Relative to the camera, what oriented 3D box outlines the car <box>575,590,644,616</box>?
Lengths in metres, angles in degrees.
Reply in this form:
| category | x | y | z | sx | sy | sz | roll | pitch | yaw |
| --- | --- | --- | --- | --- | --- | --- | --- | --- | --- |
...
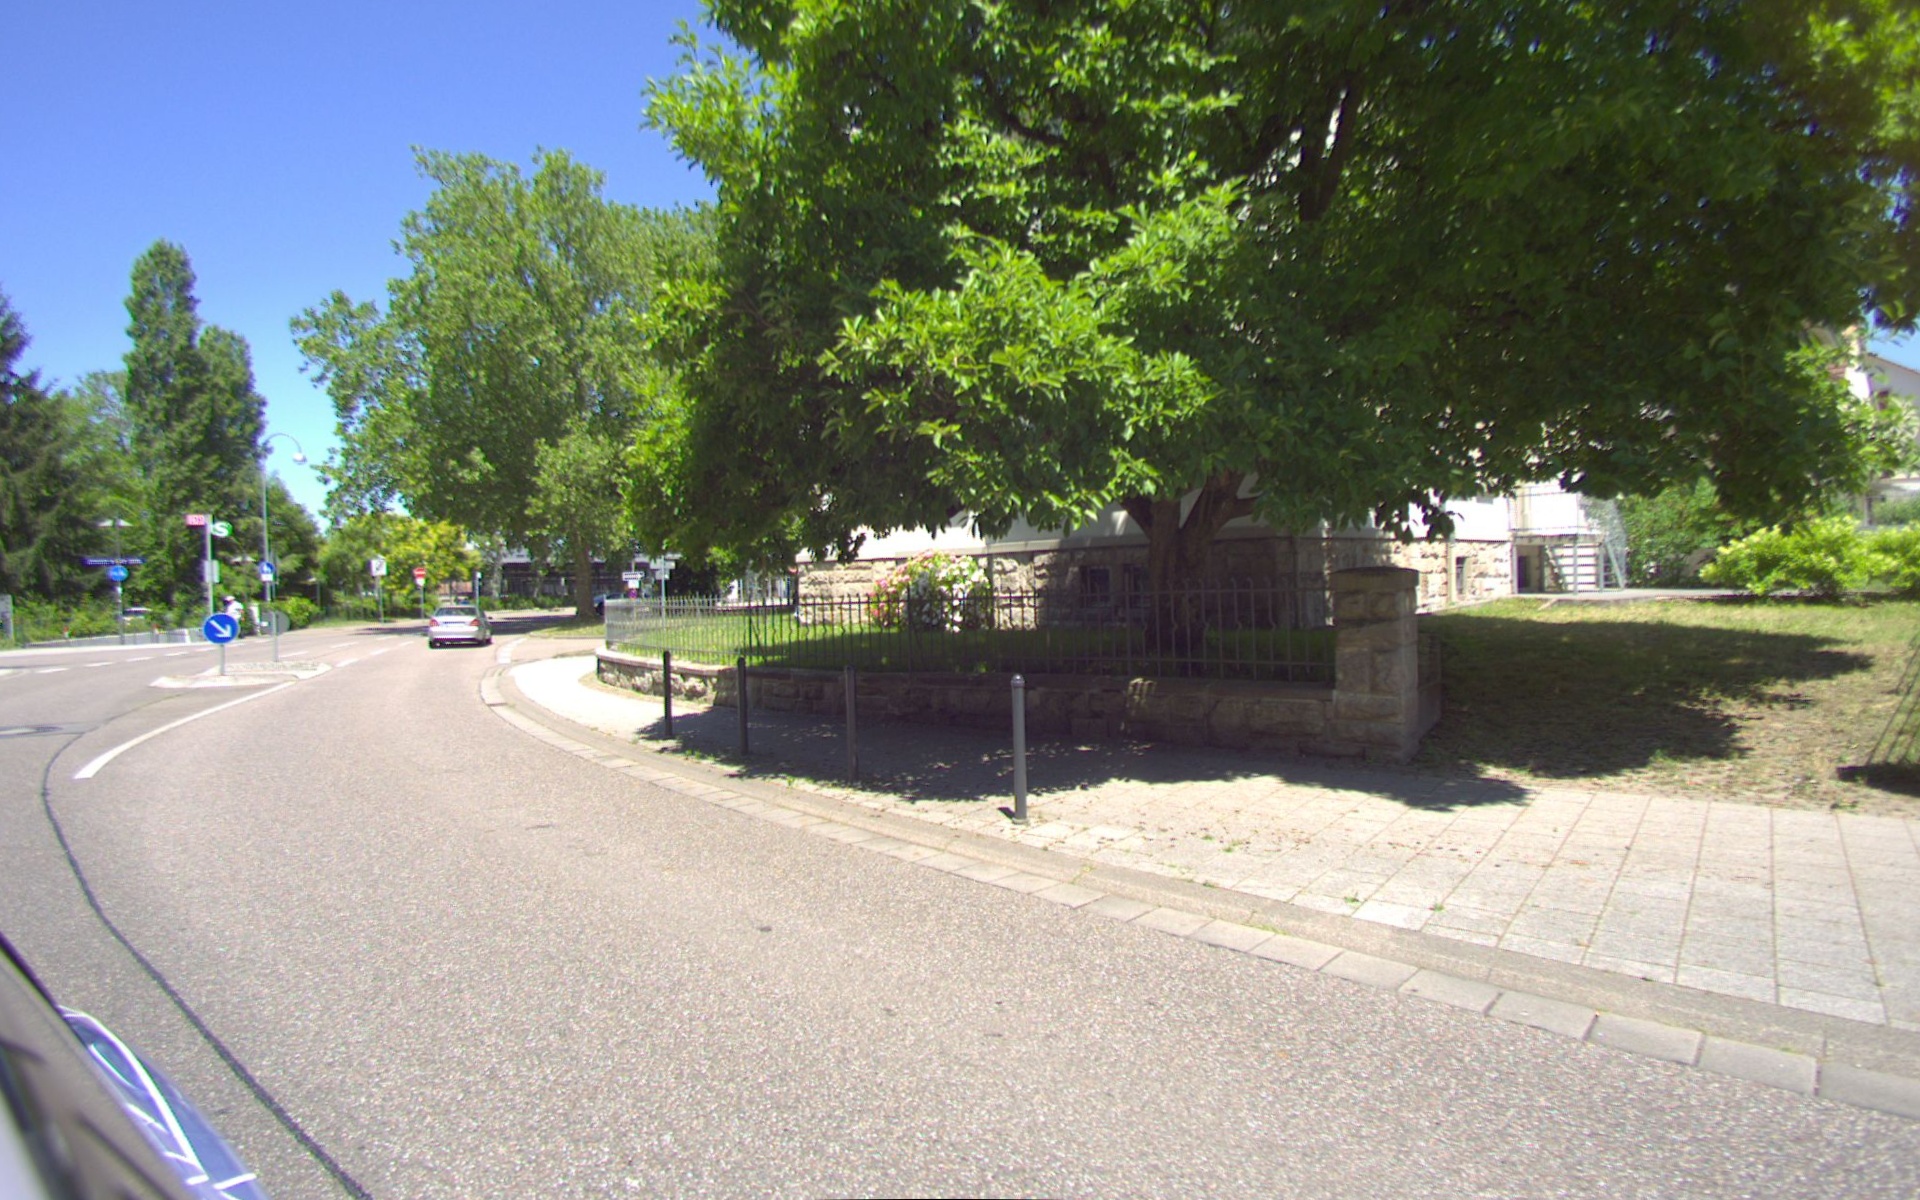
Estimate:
| category | x | y | z | sx | sy | sz | roll | pitch | yaw |
| --- | --- | --- | --- | --- | --- | --- | --- | --- | --- |
| car | -23.589 | 0.187 | 68.273 | 1.777 | 1.556 | 4.131 | 1 | 3 | 37 |

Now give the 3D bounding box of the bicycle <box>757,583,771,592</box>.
| category | x | y | z | sx | sy | sz | roll | pitch | yaw |
| --- | --- | --- | --- | --- | --- | --- | --- | --- | --- |
| bicycle | -26.035 | -1.654 | 134.599 | 2.170 | 1.081 | 0.661 | 2 | 6 | 44 |

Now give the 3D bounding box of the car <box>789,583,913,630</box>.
| category | x | y | z | sx | sy | sz | roll | pitch | yaw |
| --- | --- | --- | --- | --- | --- | --- | --- | --- | --- |
| car | -4.051 | 0.236 | 37.613 | 4.230 | 1.635 | 1.884 | -1 | 0 | -19 |

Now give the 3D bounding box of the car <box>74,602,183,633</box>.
| category | x | y | z | sx | sy | sz | roll | pitch | yaw |
| --- | --- | --- | --- | --- | --- | --- | --- | --- | --- |
| car | -46.393 | 0.959 | 56.557 | 1.768 | 1.511 | 4.441 | -1 | 1 | 39 |

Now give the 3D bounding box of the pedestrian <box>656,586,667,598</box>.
| category | x | y | z | sx | sy | sz | roll | pitch | yaw |
| --- | --- | --- | --- | --- | --- | --- | --- | --- | --- |
| pedestrian | -33.214 | -0.866 | 112.711 | 0.829 | 1.284 | 0.858 | -1 | 1 | 36 |

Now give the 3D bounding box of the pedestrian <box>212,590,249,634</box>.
| category | x | y | z | sx | sy | sz | roll | pitch | yaw |
| --- | --- | --- | --- | --- | --- | --- | --- | --- | --- |
| pedestrian | -30.036 | 0.499 | 41.676 | 0.902 | 1.785 | 0.915 | 0 | 1 | -1 |

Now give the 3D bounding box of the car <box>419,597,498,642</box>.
| category | x | y | z | sx | sy | sz | roll | pitch | yaw |
| --- | --- | --- | --- | --- | --- | --- | --- | --- | --- |
| car | -17.022 | 0.619 | 34.514 | 1.734 | 1.446 | 4.317 | 0 | 0 | -17 |
